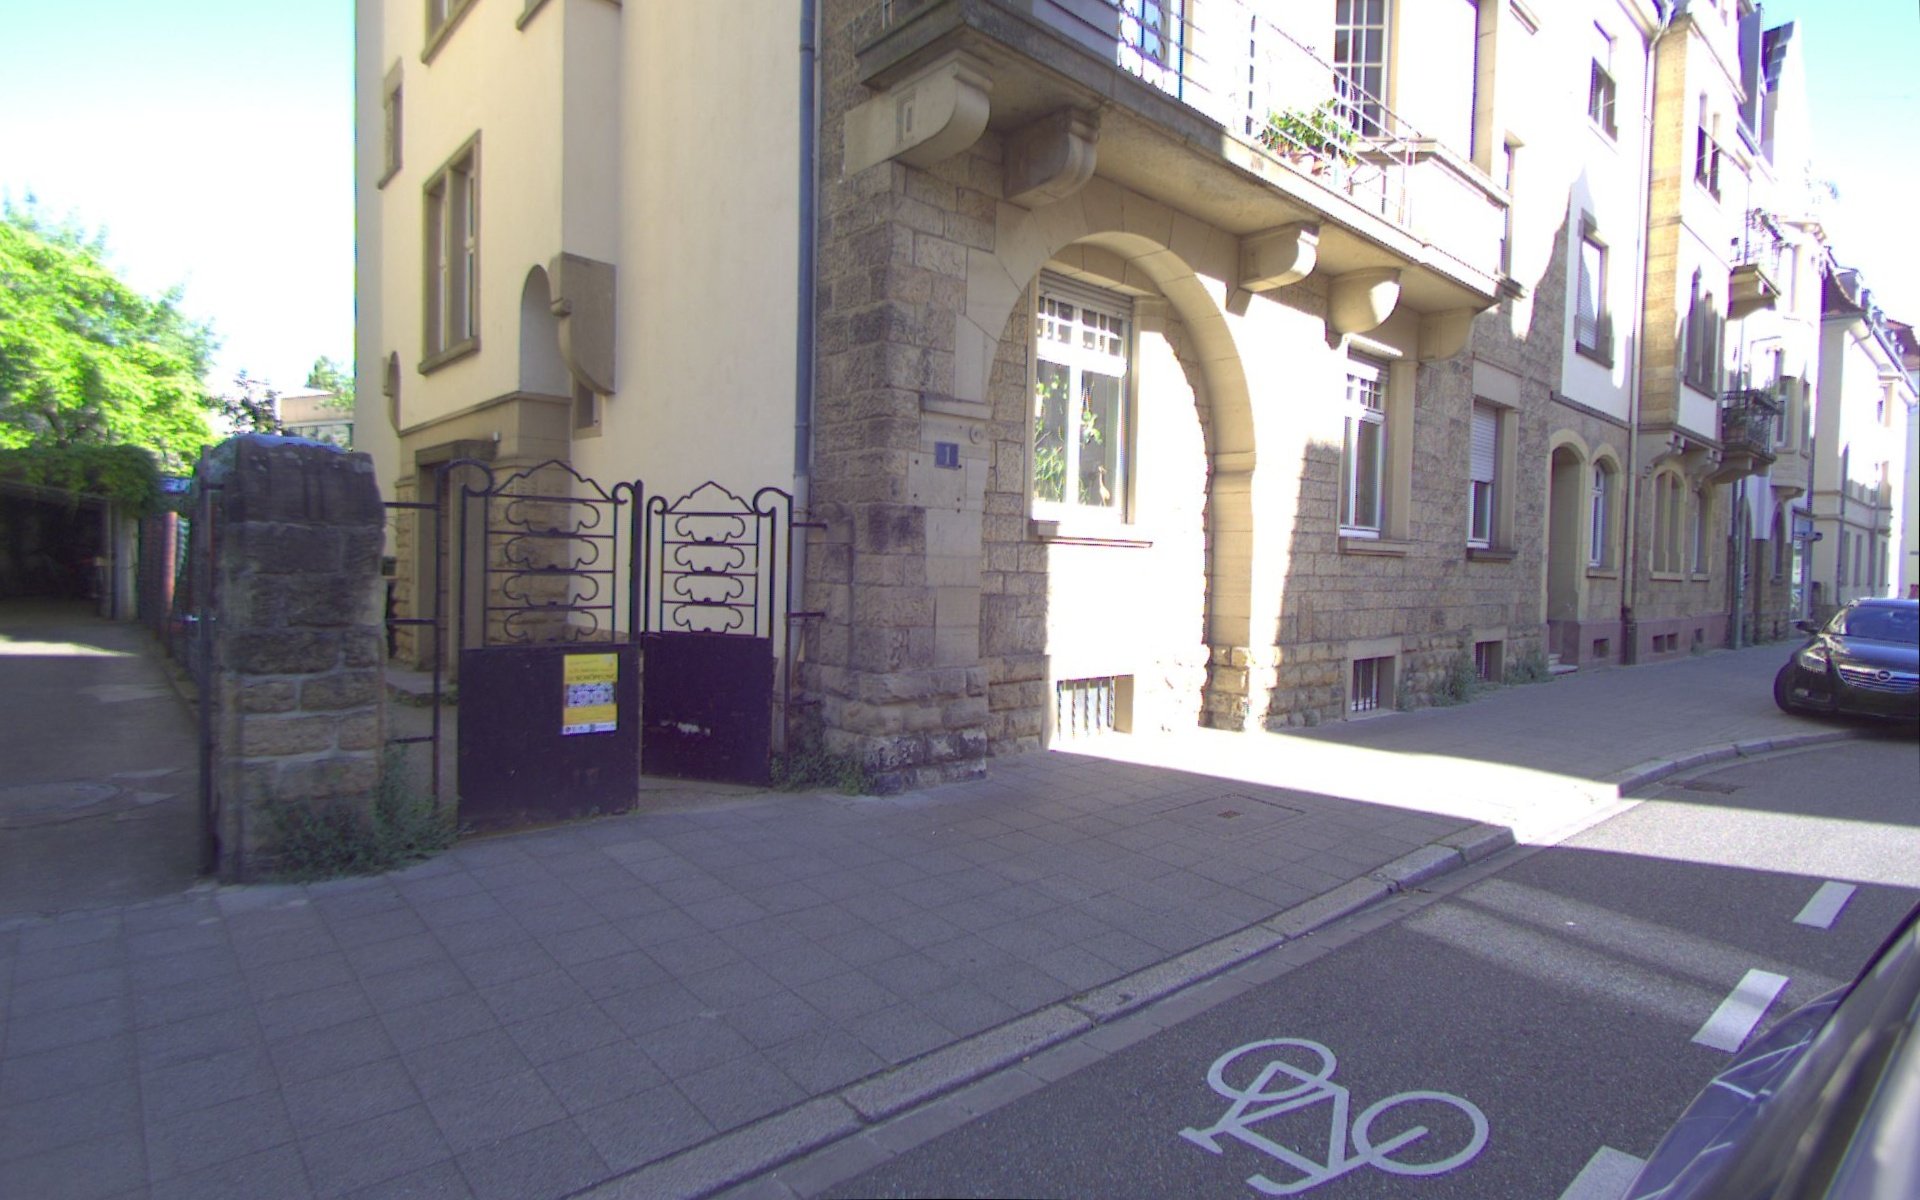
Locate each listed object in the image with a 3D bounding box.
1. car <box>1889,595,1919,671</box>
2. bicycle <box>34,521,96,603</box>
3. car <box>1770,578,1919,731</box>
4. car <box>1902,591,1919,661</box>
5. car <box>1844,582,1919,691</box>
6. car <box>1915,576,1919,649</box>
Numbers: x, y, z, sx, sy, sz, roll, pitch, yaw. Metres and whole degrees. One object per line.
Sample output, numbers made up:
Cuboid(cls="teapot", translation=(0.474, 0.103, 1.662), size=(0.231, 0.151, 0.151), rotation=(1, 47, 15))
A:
Cuboid(cls="car", translation=(18.797, 0.617, 18.974), size=(3.667, 1.295, 1.659), rotation=(-1, 4, -42))
Cuboid(cls="bicycle", translation=(-18.300, -0.810, 20.726), size=(0.903, 1.530, 2.672), rotation=(0, 4, -41))
Cuboid(cls="car", translation=(11.469, 0.568, 12.153), size=(4.043, 1.526, 2.023), rotation=(-1, 5, -42))
Cuboid(cls="car", translation=(22.173, 0.580, 22.195), size=(4.247, 1.440, 1.823), rotation=(-1, 4, -42))
Cuboid(cls="car", translation=(15.534, 0.564, 15.869), size=(4.247, 1.527, 2.004), rotation=(0, 3, -42))
Cuboid(cls="car", translation=(26.236, 0.335, 26.053), size=(4.247, 1.860, 2.004), rotation=(-1, 4, -42))
